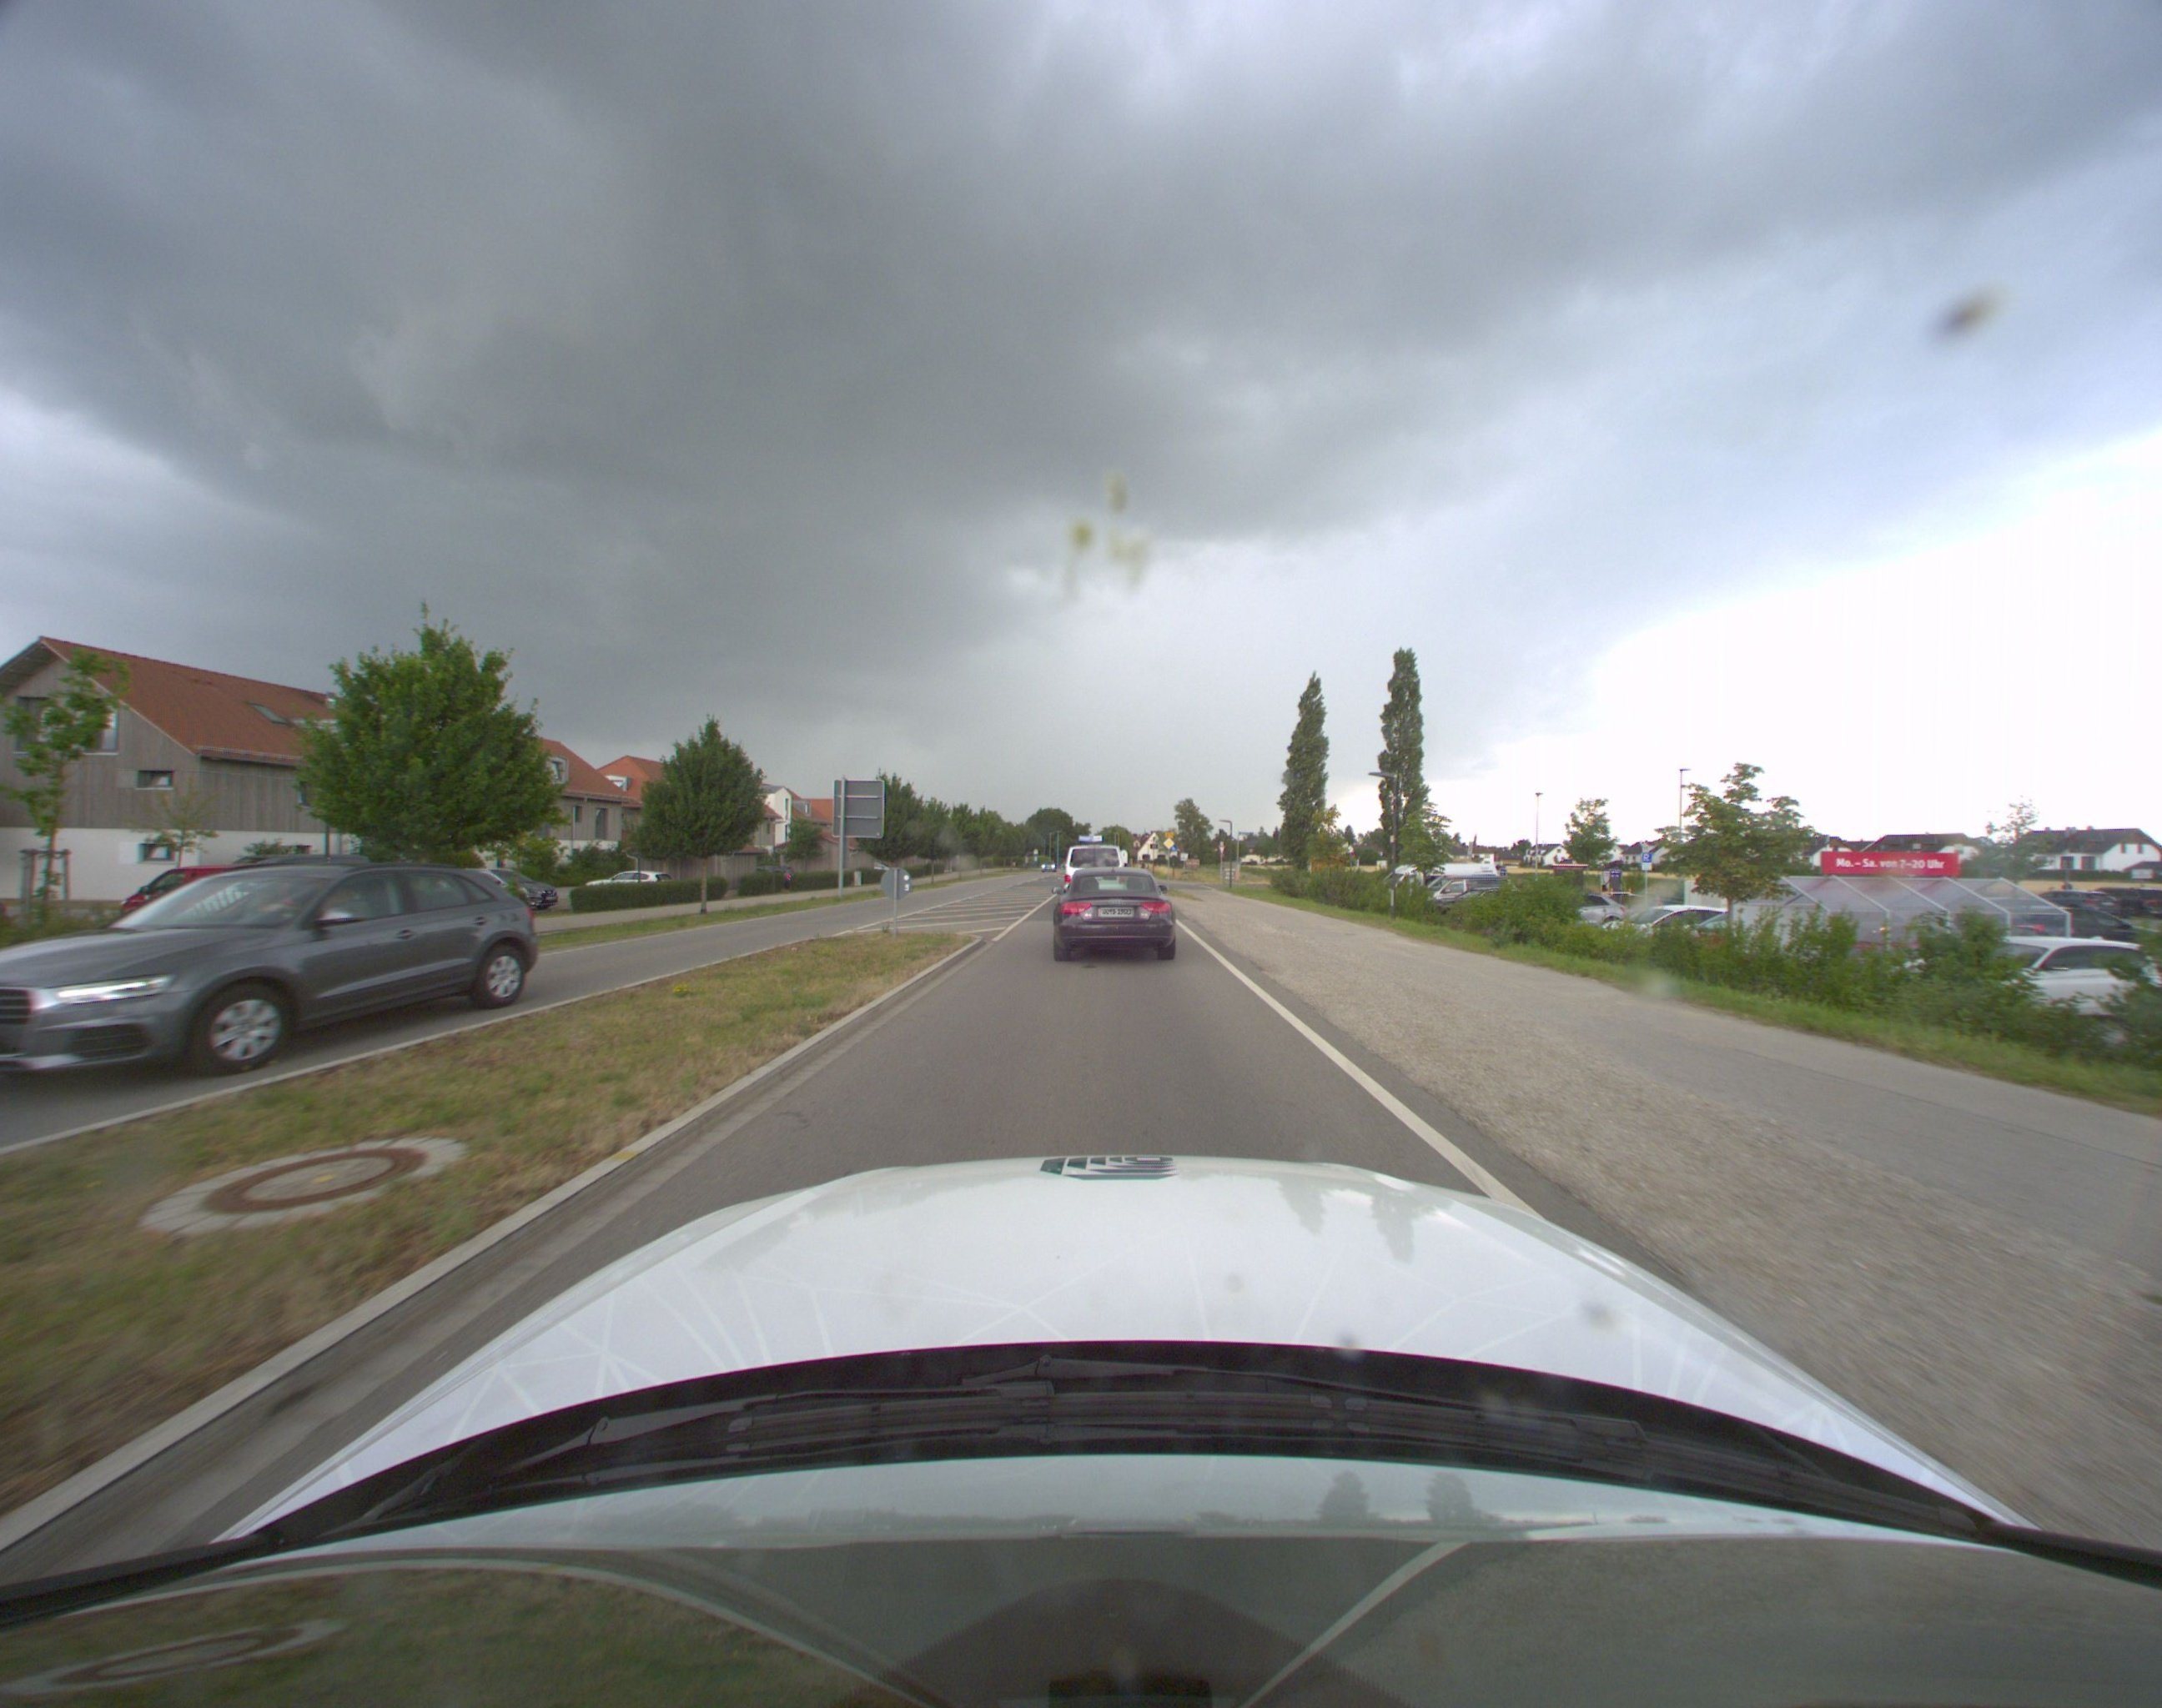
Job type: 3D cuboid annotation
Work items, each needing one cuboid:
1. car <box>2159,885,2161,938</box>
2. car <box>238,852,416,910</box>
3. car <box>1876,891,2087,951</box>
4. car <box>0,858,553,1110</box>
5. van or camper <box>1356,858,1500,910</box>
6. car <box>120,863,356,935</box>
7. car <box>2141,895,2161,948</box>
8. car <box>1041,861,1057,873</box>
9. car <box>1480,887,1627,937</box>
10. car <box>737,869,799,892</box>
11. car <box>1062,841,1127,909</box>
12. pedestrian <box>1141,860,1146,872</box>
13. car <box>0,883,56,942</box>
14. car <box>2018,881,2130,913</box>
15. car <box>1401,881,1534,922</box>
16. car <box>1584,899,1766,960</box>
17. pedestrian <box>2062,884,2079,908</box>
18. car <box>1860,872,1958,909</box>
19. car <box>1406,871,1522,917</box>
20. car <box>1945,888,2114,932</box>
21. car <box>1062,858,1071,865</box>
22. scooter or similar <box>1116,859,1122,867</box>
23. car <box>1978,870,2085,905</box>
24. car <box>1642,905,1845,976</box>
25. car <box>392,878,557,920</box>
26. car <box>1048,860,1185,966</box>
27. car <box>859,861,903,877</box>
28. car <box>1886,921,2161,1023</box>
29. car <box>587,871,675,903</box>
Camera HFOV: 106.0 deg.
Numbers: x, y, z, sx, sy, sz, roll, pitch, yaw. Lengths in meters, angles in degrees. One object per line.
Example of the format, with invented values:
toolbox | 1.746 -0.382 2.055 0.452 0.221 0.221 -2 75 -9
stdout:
car | 42.973 2.136 28.995 5.169 2.013 2.011 -1 0 24
car | -30.138 1.008 32.849 1.984 2.013 5.206 3 0 4
car | 27.089 1.993 24.632 3.967 1.618 2.003 -1 0 5
car | -7.091 0.854 7.324 1.819 1.582 4.217 -1 0 2
van or camper | 17.710 1.522 41.793 6.448 2.464 2.280 -1 0 -2
car | -23.188 1.207 22.500 4.880 1.816 1.909 -1 0 6
car | 35.769 2.105 24.853 3.967 1.618 2.003 -1 0 5
car | -4.017 1.663 103.534 1.764 1.443 4.001 -1 0 1
car | 17.077 2.062 29.591 4.134 1.598 2.080 -1 0 -1
car | -21.139 1.770 55.076 3.502 1.489 1.564 -1 0 1
car | 0.379 0.603 25.319 1.820 1.913 3.999 2 0 0
pedestrian | 8.073 1.592 105.452 0.621 1.525 0.680 -1 0 1
car | -27.760 1.478 19.281 1.868 1.420 4.001 -1 0 1
car | 53.764 2.283 44.196 1.738 1.508 3.580 -1 0 1
car | 16.963 2.077 35.884 5.080 1.598 1.757 -1 0 -1
car | 17.287 2.175 23.826 4.134 1.538 1.675 -1 0 -1
pedestrian | 74.209 3.165 61.067 0.480 1.761 0.599 -1 0 1
car | 50.835 2.205 50.104 1.986 2.013 4.001 -1 0 1
car | 18.054 1.855 38.553 4.579 2.013 1.999 -1 0 -1
car | 35.355 2.056 30.449 4.165 1.433 1.901 -1 0 -1
car | -3.059 1.519 168.912 1.648 1.429 3.603 -1 0 1
scooter or similar | 5.976 1.411 127.454 0.845 1.103 1.094 -1 0 1
car | 58.306 2.013 50.069 1.986 2.013 4.001 -1 0 1
car | 16.462 2.123 20.366 3.745 1.538 1.675 -1 0 -1
car | -22.993 1.687 30.998 4.886 1.430 1.907 -1 0 2
car | 0.410 0.831 13.433 1.821 1.388 4.382 -1 0 -3
car | -20.932 1.551 85.223 3.971 1.556 2.001 2 0 2
car | 17.383 2.095 14.874 3.745 1.538 1.675 -1 0 -1
car | -22.419 1.633 40.626 3.502 1.489 1.564 -1 0 1
